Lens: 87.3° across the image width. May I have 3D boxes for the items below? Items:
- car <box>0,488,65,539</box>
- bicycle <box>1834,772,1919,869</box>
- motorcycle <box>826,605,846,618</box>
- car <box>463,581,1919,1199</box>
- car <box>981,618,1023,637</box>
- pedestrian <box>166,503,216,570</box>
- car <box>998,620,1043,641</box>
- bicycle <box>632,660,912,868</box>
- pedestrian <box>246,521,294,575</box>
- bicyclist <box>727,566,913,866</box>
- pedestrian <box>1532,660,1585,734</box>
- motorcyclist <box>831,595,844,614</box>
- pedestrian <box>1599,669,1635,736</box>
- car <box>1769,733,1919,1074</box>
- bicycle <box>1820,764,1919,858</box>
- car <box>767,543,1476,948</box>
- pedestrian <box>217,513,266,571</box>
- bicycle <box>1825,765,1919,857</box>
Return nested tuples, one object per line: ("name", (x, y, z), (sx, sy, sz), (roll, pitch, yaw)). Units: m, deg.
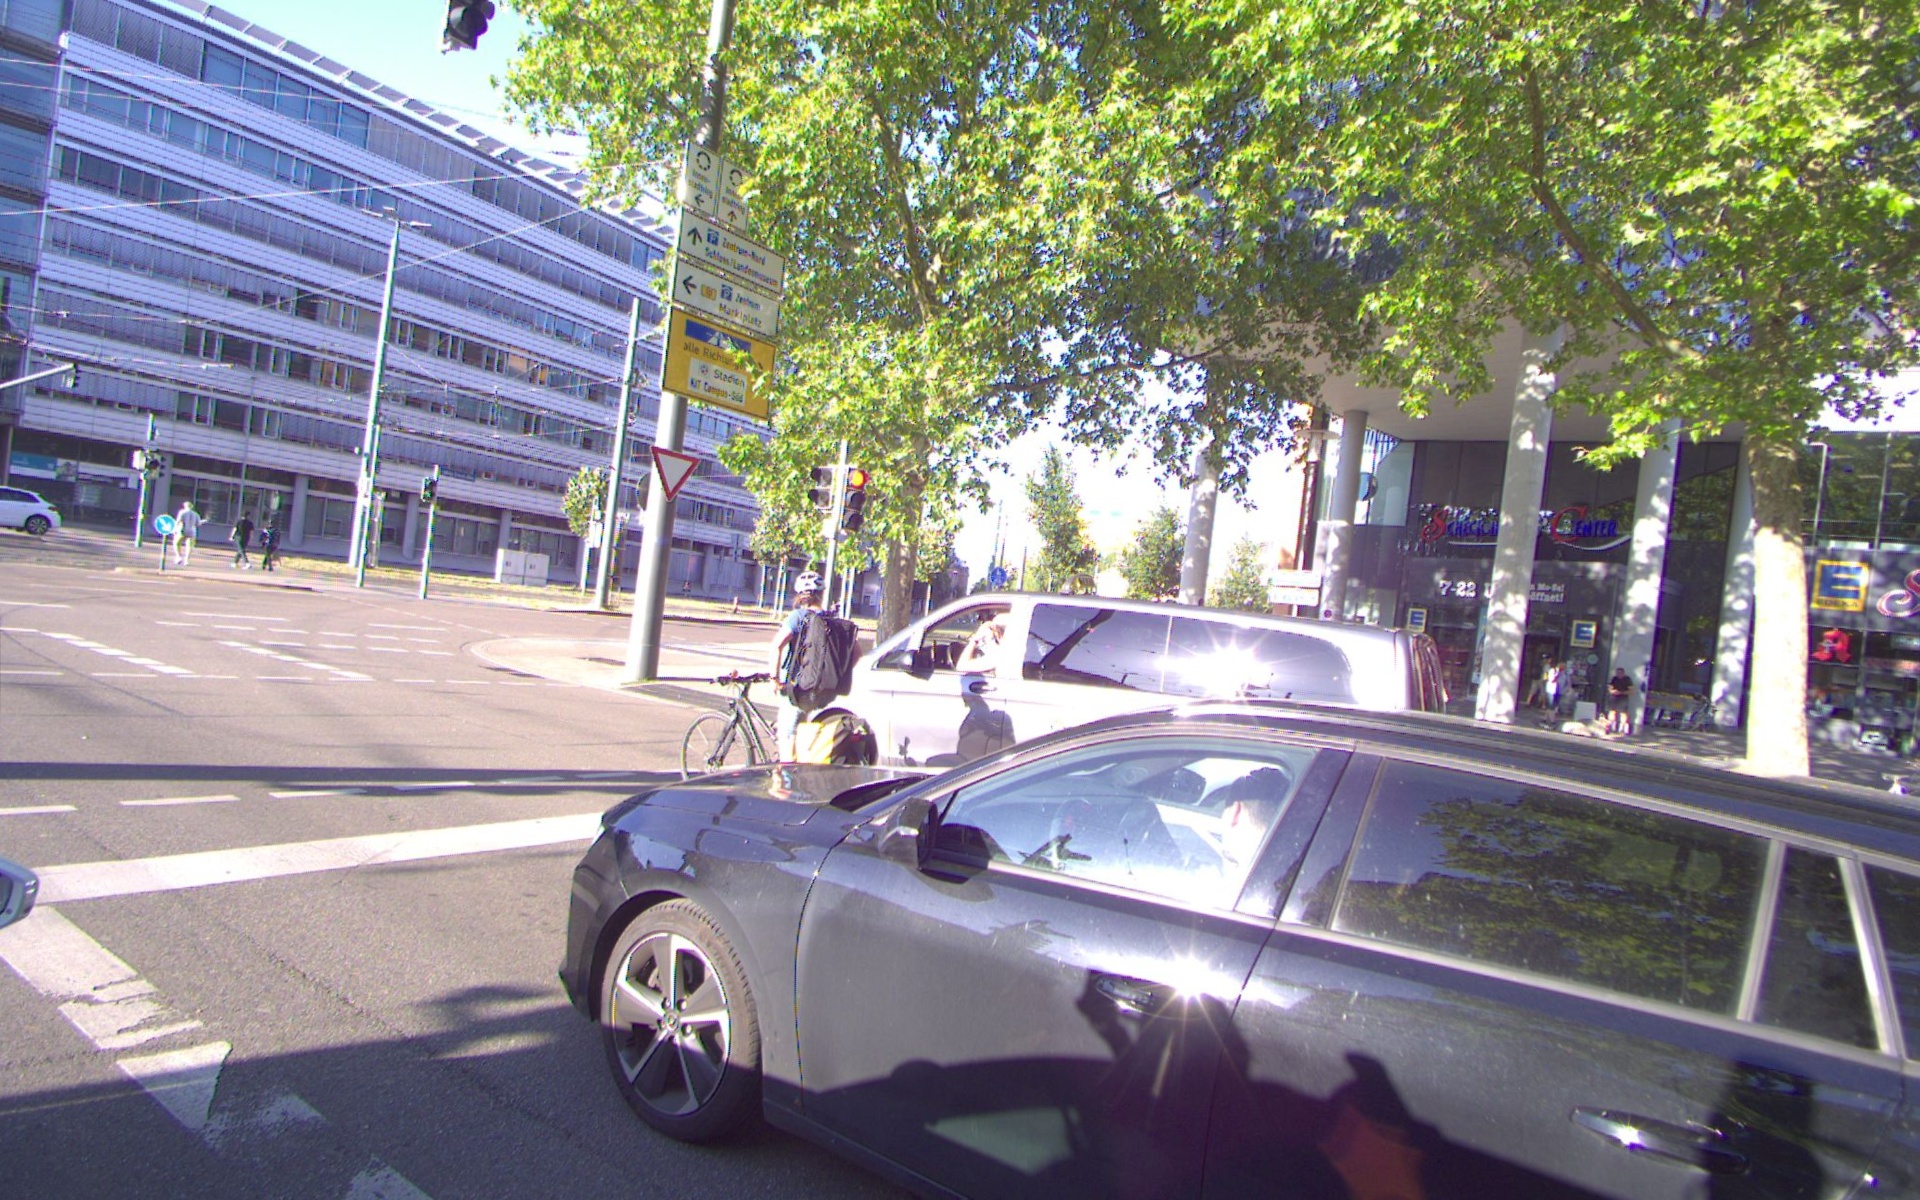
("car", (-32.769, -3.077, 33.272), (1.730, 1.506, 4.306), (7, 0, 26))
("bicycle", (10.554, 2.479, 11.092), (1.233, 0.898, 0.462), (7, 1, 32))
("motorcycle", (-9.191, 0.871, 74.420), (0.460, 0.819, 1.568), (7, 0, 36))
("car", (0.770, 0.944, 2.753), (4.199, 1.431, 1.742), (7, -2, 32))
("car", (3.871, 2.517, 91.578), (1.758, 1.411, 3.984), (7, 1, 37))
("pedestrian", (-22.584, -1.856, 29.548), (0.859, 1.811, 0.863), (7, 1, 39))
("car", (5.278, 2.685, 87.623), (1.758, 1.415, 4.157), (7, 0, 37))
("bicycle", (-1.277, 1.016, 6.647), (1.839, 0.993, 0.561), (7, 1, 32))
("pedestrian", (-22.367, -1.695, 32.633), (0.883, 1.583, 0.947), (7, 1, 39))
("bicyclist", (-0.883, 0.698, 6.377), (0.766, 1.714, 0.632), (7, 1, 32))
("pedestrian", (15.900, 2.562, 26.737), (0.592, 1.805, 0.886), (7, 1, -7))
("motorcyclist", (-9.088, 0.326, 74.484), (0.452, 1.291, 0.712), (7, 1, 36))
("pedestrian", (17.483, 2.734, 26.771), (0.598, 1.707, 0.511), (6, 1, -41))
("car", (6.580, 1.739, 4.568), (4.181, 1.503, 1.741), (7, 0, 31))
("bicycle", (11.213, 2.545, 12.078), (0.437, 0.930, 1.210), (6, 0, -39))
("car", (1.106, 0.842, 7.965), (5.012, 2.004, 1.939), (7, 0, 31))
("pedestrian", (-22.944, -1.849, 32.135), (1.020, 1.706, 0.912), (7, 1, 39))
("bicycle", (11.511, 2.607, 12.351), (0.460, 0.938, 1.210), (6, 0, -39))
